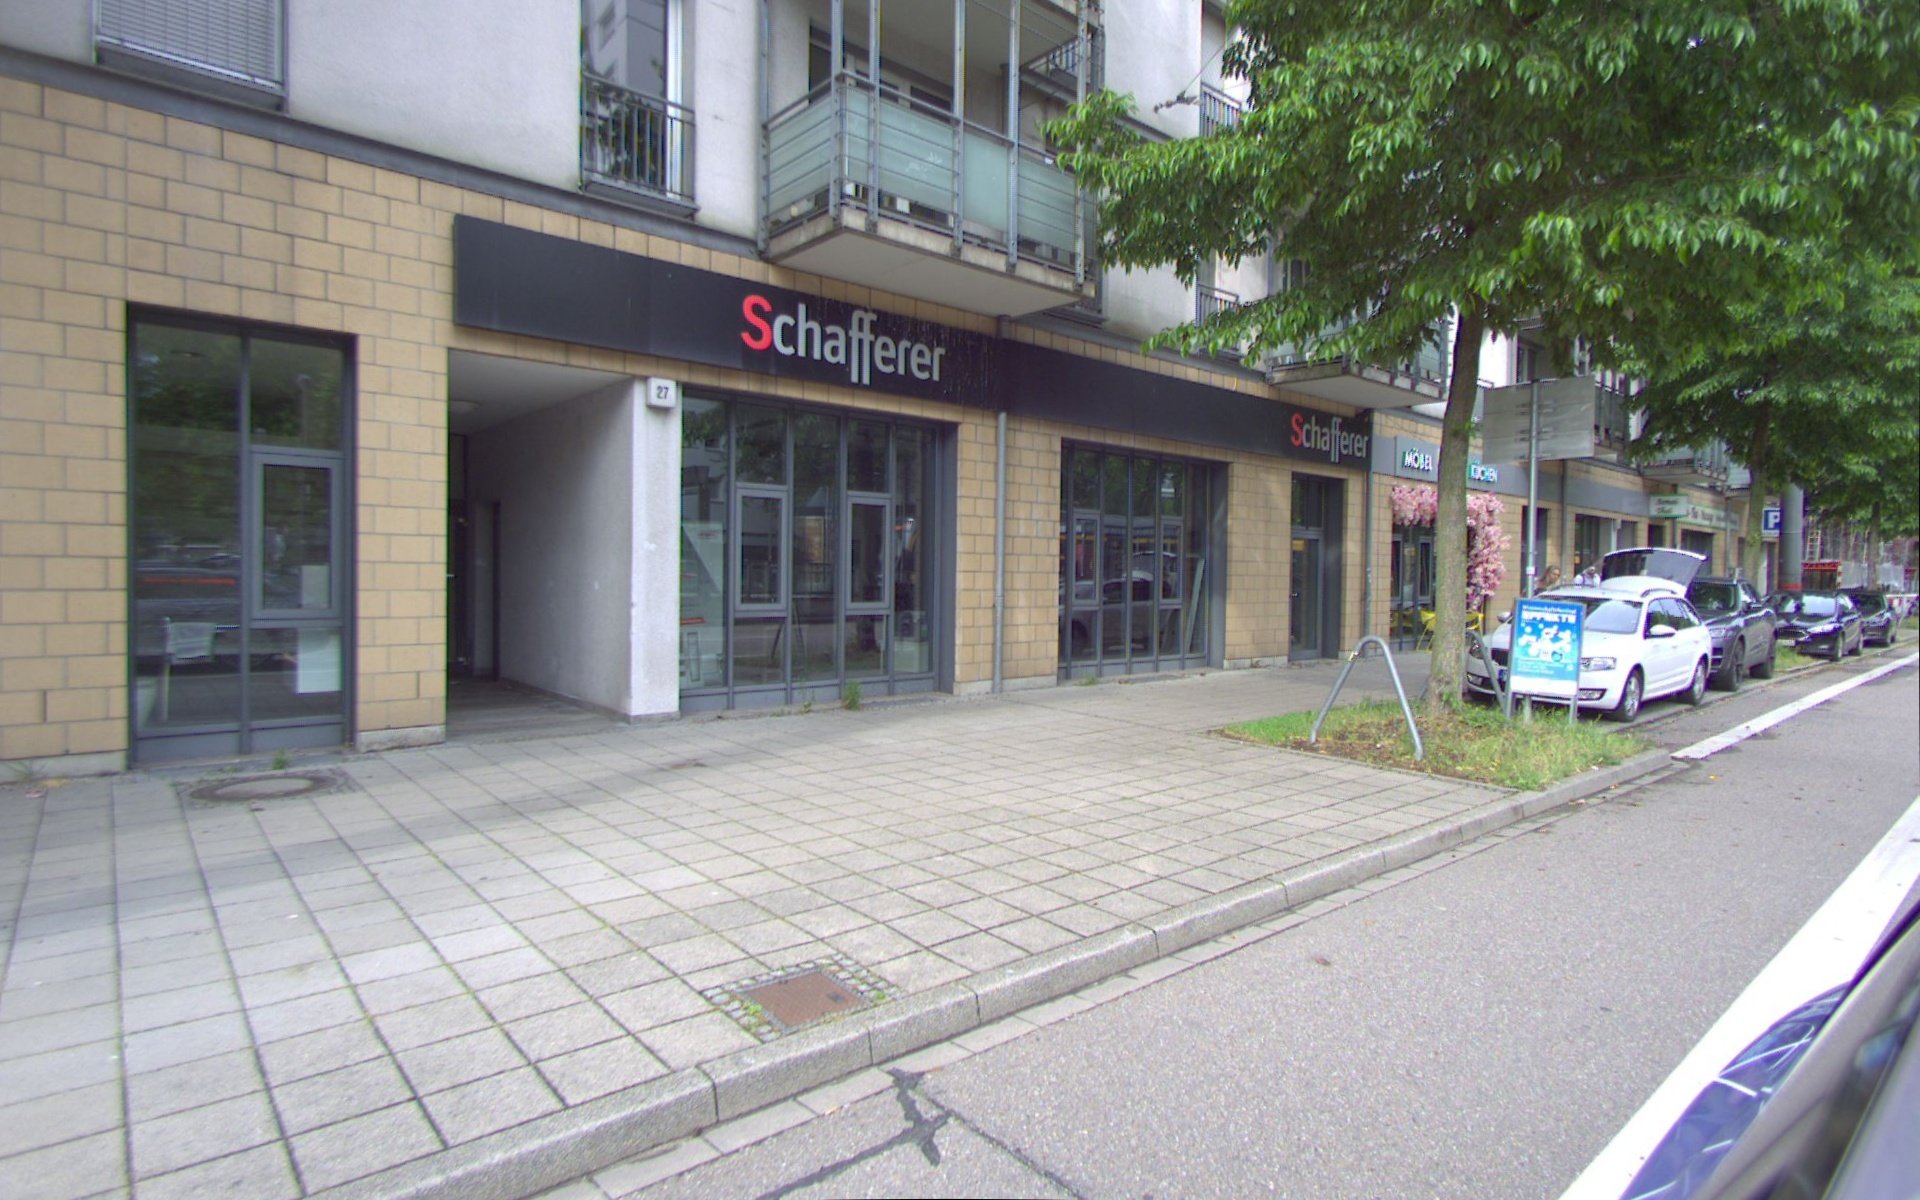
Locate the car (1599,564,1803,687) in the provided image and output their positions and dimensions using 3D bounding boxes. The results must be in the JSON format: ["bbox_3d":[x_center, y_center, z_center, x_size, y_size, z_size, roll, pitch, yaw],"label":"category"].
[{"bbox_3d":[11.791,0.318,16.029,3.732,1.630,1.738,-1,5,-41],"label":"car"}]

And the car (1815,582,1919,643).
[{"bbox_3d":[24.153,0.287,26.871,3.603,1.417,1.612,-1,5,-41],"label":"car"}]

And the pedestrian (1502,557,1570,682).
[{"bbox_3d":[8.328,0.265,14.636,0.726,1.738,0.616,-1,3,-43],"label":"pedestrian"}]

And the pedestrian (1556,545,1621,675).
[{"bbox_3d":[9.452,0.137,15.223,0.588,1.907,0.656,0,1,-40],"label":"pedestrian"}]

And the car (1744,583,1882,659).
[{"bbox_3d":[18.632,0.386,22.045,4.095,1.394,1.612,-1,5,-41],"label":"car"}]

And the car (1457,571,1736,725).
[{"bbox_3d":[8.119,0.474,12.756,4.233,1.539,1.738,-1,5,-41],"label":"car"}]
